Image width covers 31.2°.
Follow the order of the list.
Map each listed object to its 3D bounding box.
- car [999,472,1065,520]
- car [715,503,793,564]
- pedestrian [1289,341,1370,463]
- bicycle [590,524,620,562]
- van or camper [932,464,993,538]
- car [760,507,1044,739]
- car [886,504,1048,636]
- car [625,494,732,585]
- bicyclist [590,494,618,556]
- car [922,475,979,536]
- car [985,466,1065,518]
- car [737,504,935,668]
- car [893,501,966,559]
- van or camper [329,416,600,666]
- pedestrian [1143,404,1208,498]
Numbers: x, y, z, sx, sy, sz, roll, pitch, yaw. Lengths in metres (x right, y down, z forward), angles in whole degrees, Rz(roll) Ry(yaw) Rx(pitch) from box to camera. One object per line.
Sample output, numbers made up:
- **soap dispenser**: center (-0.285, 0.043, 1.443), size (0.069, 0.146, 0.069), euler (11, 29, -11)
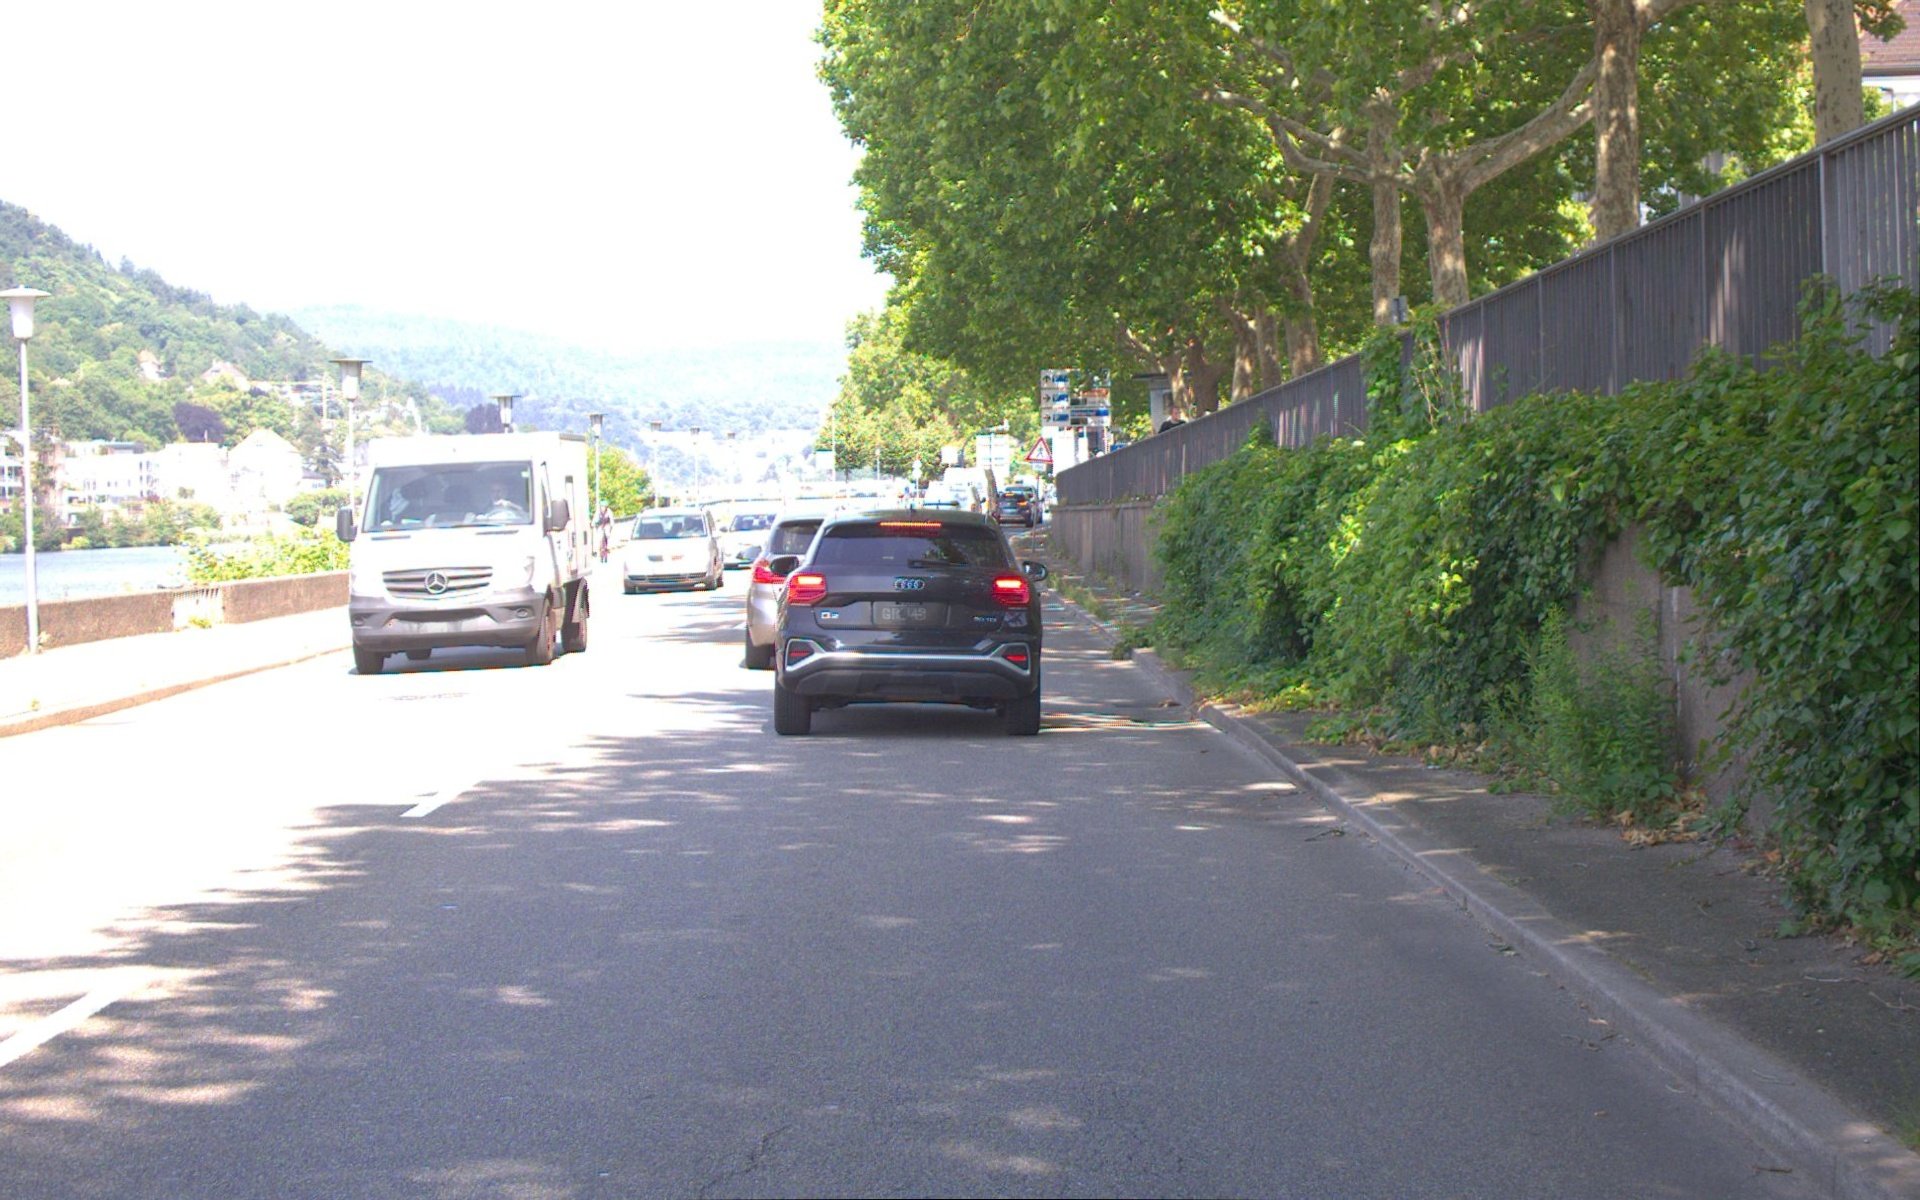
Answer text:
- **car**: center (3.296, -4.791, 158.047), size (2.661, 2.006, 5.825), euler (-4, 2, -1)
- **car**: center (-5.167, -1.689, 86.732), size (1.731, 1.437, 4.046), euler (-2, 2, -1)
- **pedestrian**: center (4.336, -2.318, 40.360), size (0.753, 1.361, 0.814), euler (-4, 2, -2)
- **bicycle**: center (-9.778, -1.577, 94.644), size (0.632, 1.008, 1.986), euler (-1, 2, -1)
- **van or camper**: center (0.123, -3.929, 136.514), size (2.310, 2.837, 4.246), euler (-1, 2, 1)
- **car**: center (-0.411, 0.094, 24.164), size (1.828, 1.481, 4.001), euler (0, 2, -1)
- **car**: center (0.040, -0.393, 40.794), size (1.828, 1.481, 4.001), euler (0, 2, -1)
- **car**: center (-5.441, -1.195, 66.801), size (1.731, 1.644, 4.178), euler (-3, 2, -1)
- **bicyclist**: center (-9.792, -2.068, 94.538), size (0.637, 1.668, 0.871), euler (-1, 1, -1)
- **car**: center (-0.367, -3.455, 124.906), size (1.993, 2.162, 4.001), euler (0, 2, -1)
- **car**: center (2.768, -4.626, 147.709), size (3.098, 2.006, 5.825), euler (-4, 2, -1)
- **car**: center (-1.188, -0.186, 33.826), size (1.828, 1.506, 4.001), euler (0, 2, -1)
- **car**: center (-0.812, -1.813, 88.528), size (1.828, 1.439, 4.001), euler (0, 2, -1)
- **van or camper**: center (-5.122, -0.655, 36.310), size (2.077, 2.390, 5.385), euler (-1, 2, -1)
- **pedestrian**: center (3.793, -2.616, 60.518), size (0.936, 1.574, 1.028), euler (-4, 2, -2)
